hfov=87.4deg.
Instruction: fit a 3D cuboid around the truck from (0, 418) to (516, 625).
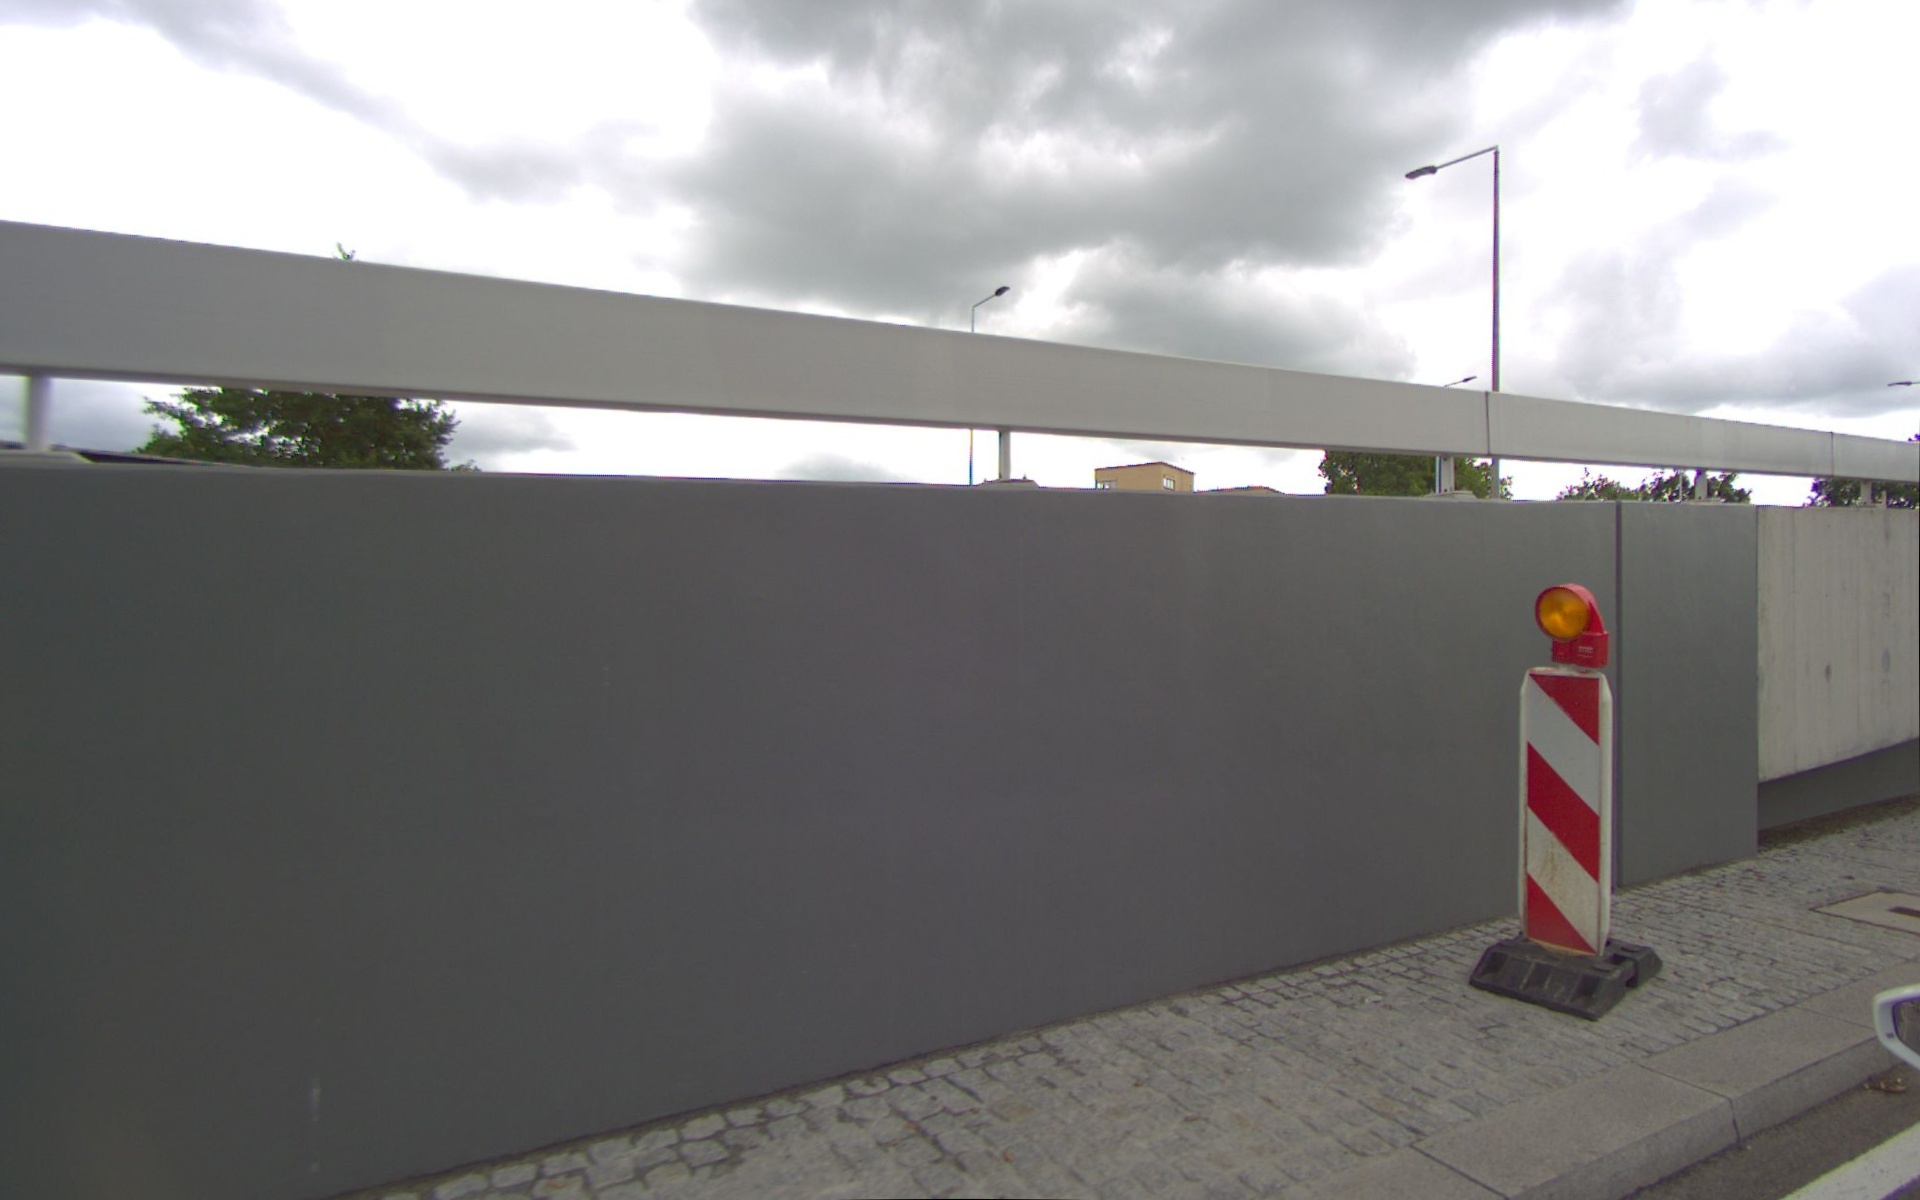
[{"bbox_3d":[-14.475,-1.420,19.313,10.506,3.436,2.715,-2,3,-34],"label":"truck"}]
